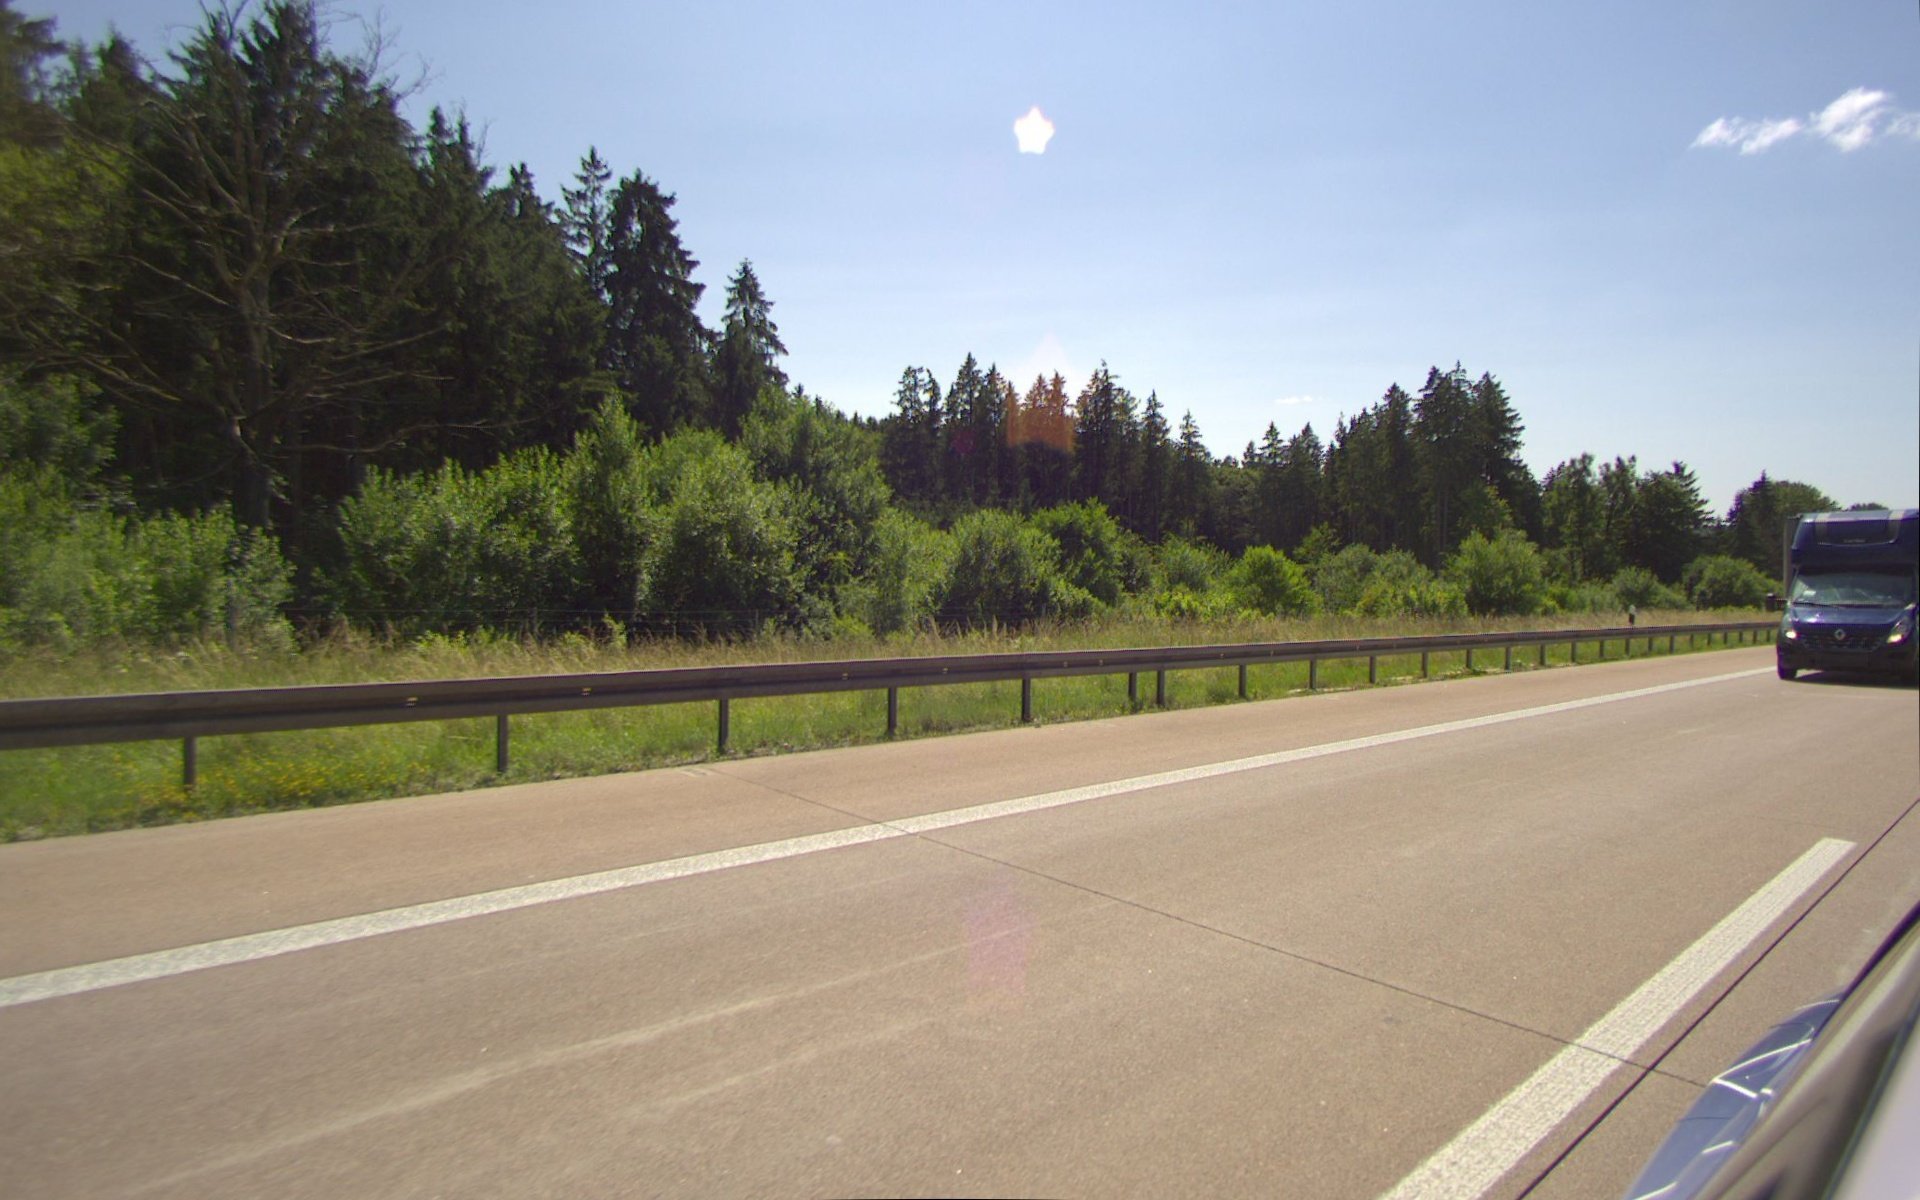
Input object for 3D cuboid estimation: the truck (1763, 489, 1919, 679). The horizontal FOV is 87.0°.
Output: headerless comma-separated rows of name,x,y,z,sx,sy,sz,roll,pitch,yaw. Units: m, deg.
truck,18.826,-0.287,20.577,7.647,3.259,2.507,0,1,-41
